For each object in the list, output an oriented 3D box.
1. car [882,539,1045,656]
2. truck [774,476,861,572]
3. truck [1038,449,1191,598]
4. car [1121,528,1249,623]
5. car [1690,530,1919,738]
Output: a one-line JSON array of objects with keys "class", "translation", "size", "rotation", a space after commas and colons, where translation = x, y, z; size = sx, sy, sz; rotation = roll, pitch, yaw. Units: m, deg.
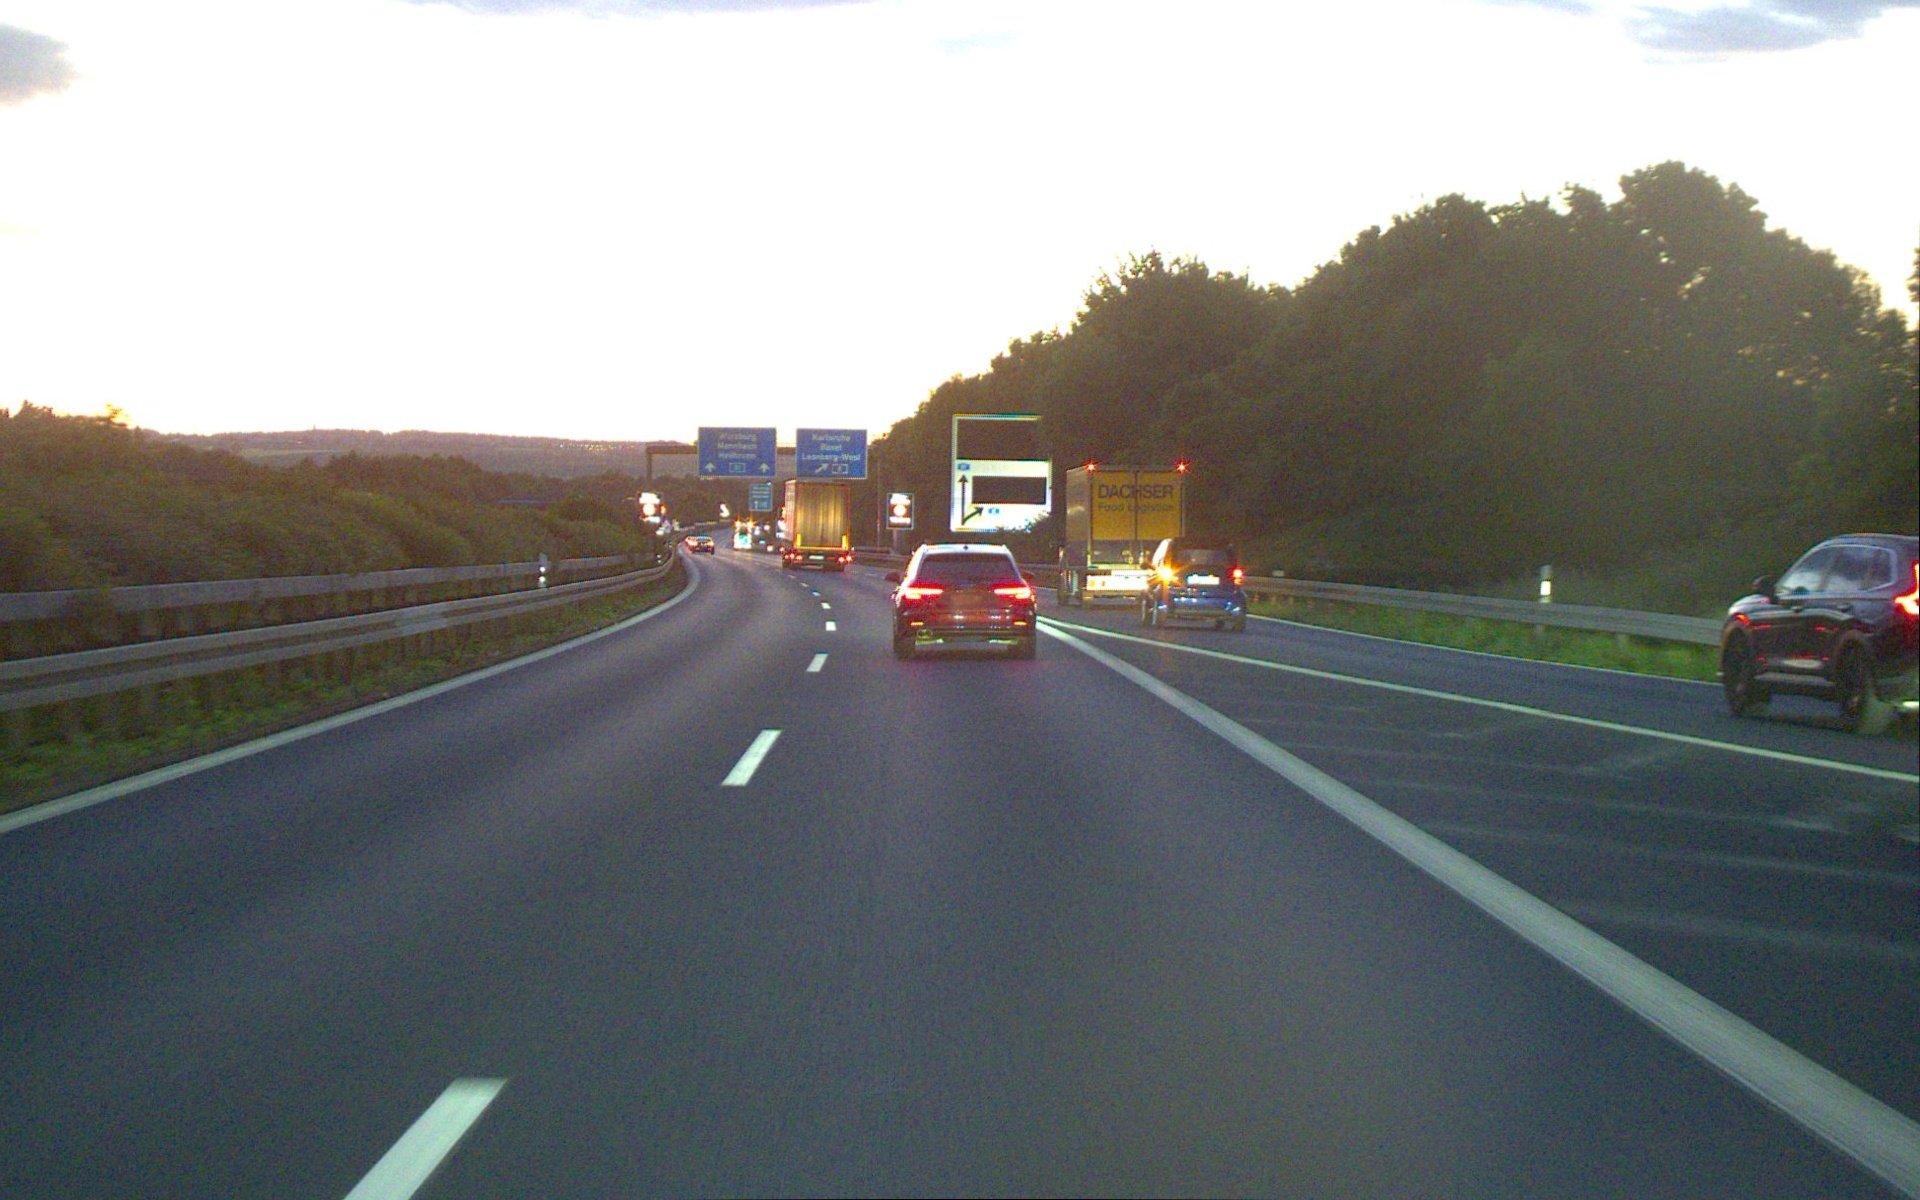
[{"class": "car", "translation": [0.001, -0.054, 44.636], "size": [1.915, 1.437, 4.000], "rotation": [1, 1, -3]}, {"class": "truck", "translation": [-6.628, -3.466, 158.802], "size": [3.509, 4.286, 9.893], "rotation": [0, 1, -5]}, {"class": "truck", "translation": [3.258, -1.647, 74.157], "size": [2.268, 2.961, 6.633], "rotation": [3, 1, -5]}, {"class": "car", "translation": [3.801, -0.425, 58.560], "size": [1.610, 1.550, 3.319], "rotation": [0, 1, -6]}, {"class": "car", "translation": [8.013, 0.250, 29.743], "size": [1.797, 1.639, 5.161], "rotation": [2, 1, -6]}]
